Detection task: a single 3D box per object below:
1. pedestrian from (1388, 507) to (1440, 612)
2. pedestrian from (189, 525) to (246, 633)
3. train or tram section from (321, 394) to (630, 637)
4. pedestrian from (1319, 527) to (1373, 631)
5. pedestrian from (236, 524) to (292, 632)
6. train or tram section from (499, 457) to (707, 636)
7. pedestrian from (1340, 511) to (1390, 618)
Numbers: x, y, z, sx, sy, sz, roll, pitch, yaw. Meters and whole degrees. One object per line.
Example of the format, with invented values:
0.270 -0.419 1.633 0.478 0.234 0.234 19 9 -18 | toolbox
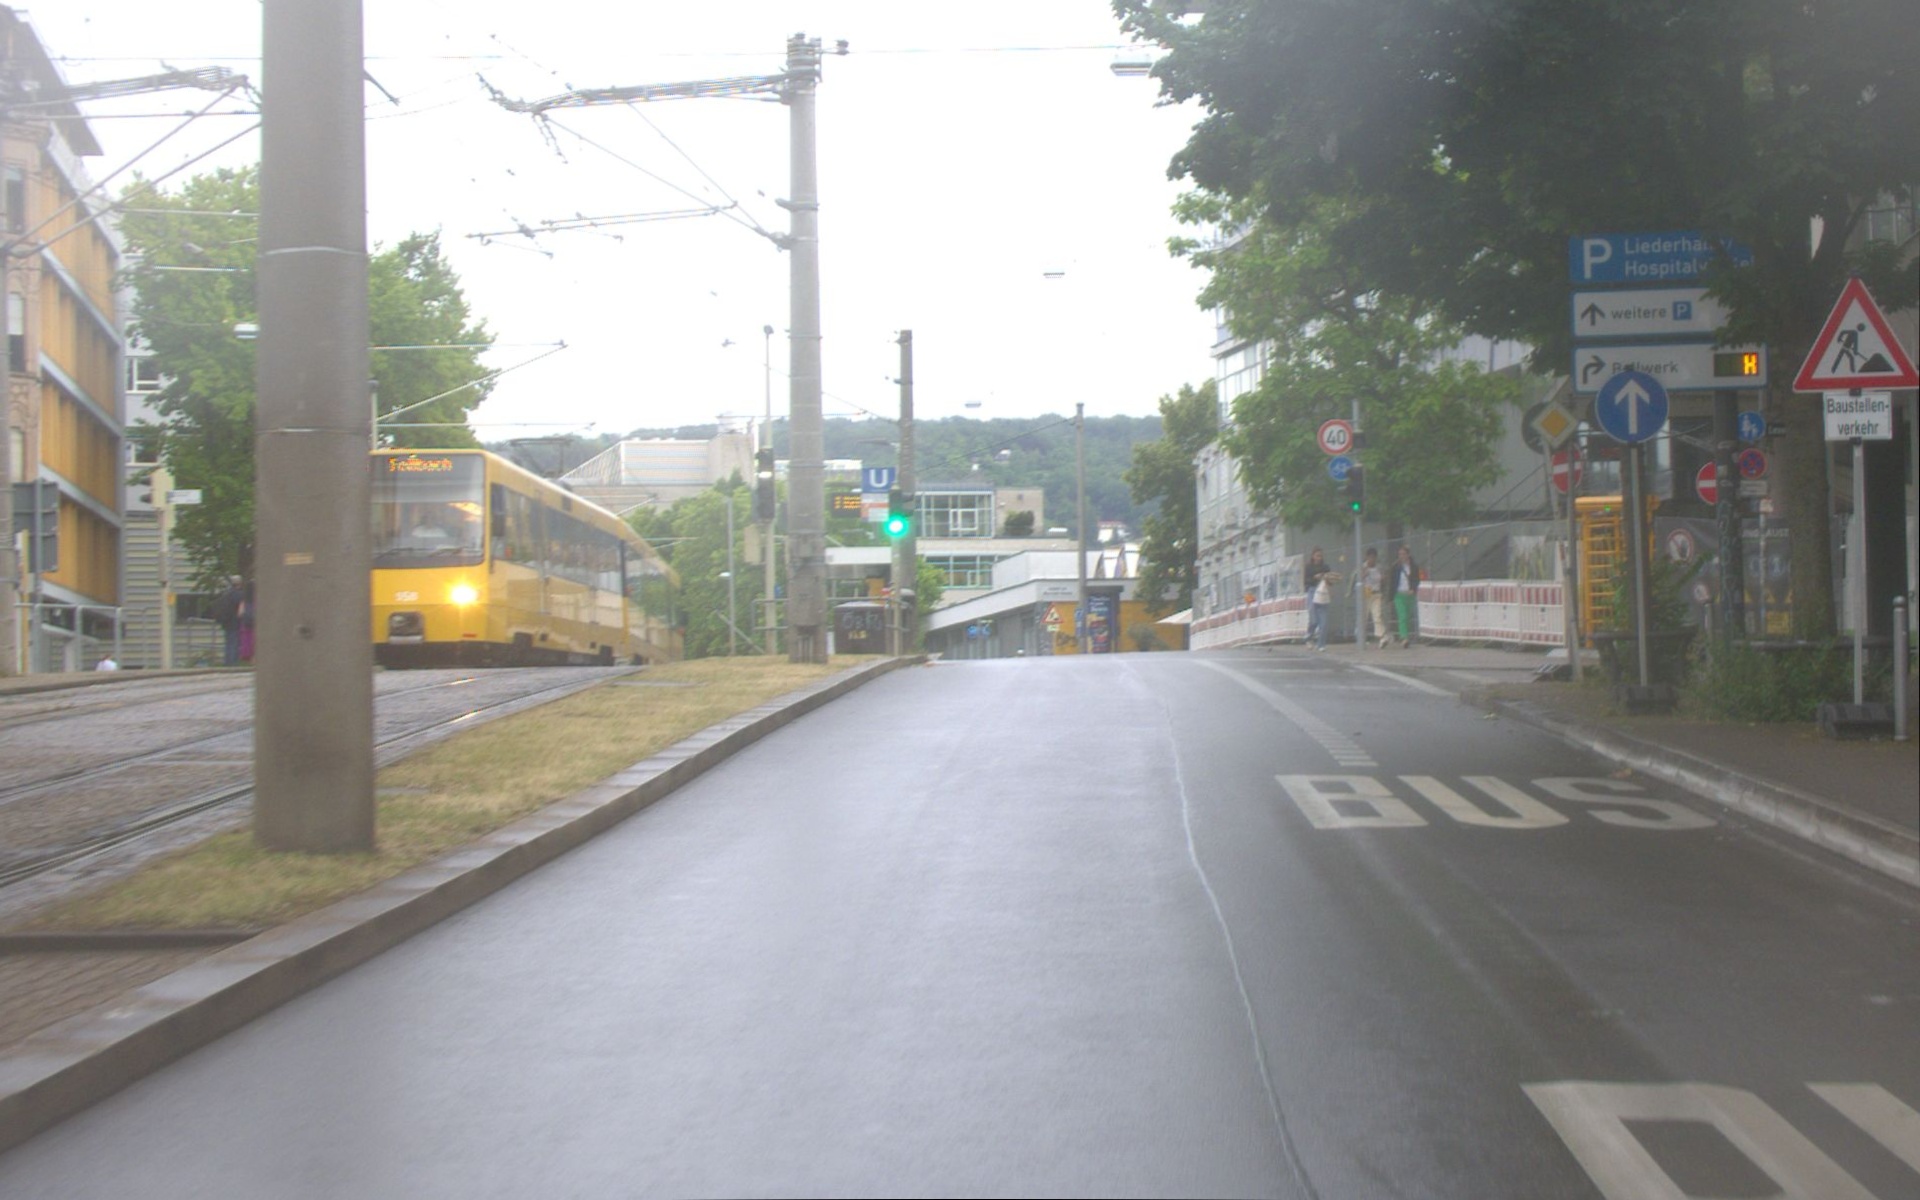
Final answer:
7.770 -0.696 58.830 0.699 1.779 1.067 -1 1 -1 | pedestrian
-12.443 -0.353 57.657 0.732 1.784 0.696 -2 1 1 | pedestrian
-8.340 -1.207 62.198 2.746 3.684 18.969 -1 -1 0 | train or tram section
6.514 -0.356 58.043 0.736 1.724 1.118 -1 1 -1 | pedestrian
-11.645 -0.374 57.546 0.732 1.784 0.696 -2 1 1 | pedestrian
-8.151 -1.034 81.212 2.746 3.684 18.969 -1 -1 0 | train or tram section
6.985 -0.617 59.342 0.699 1.809 0.977 -1 1 -1 | pedestrian
